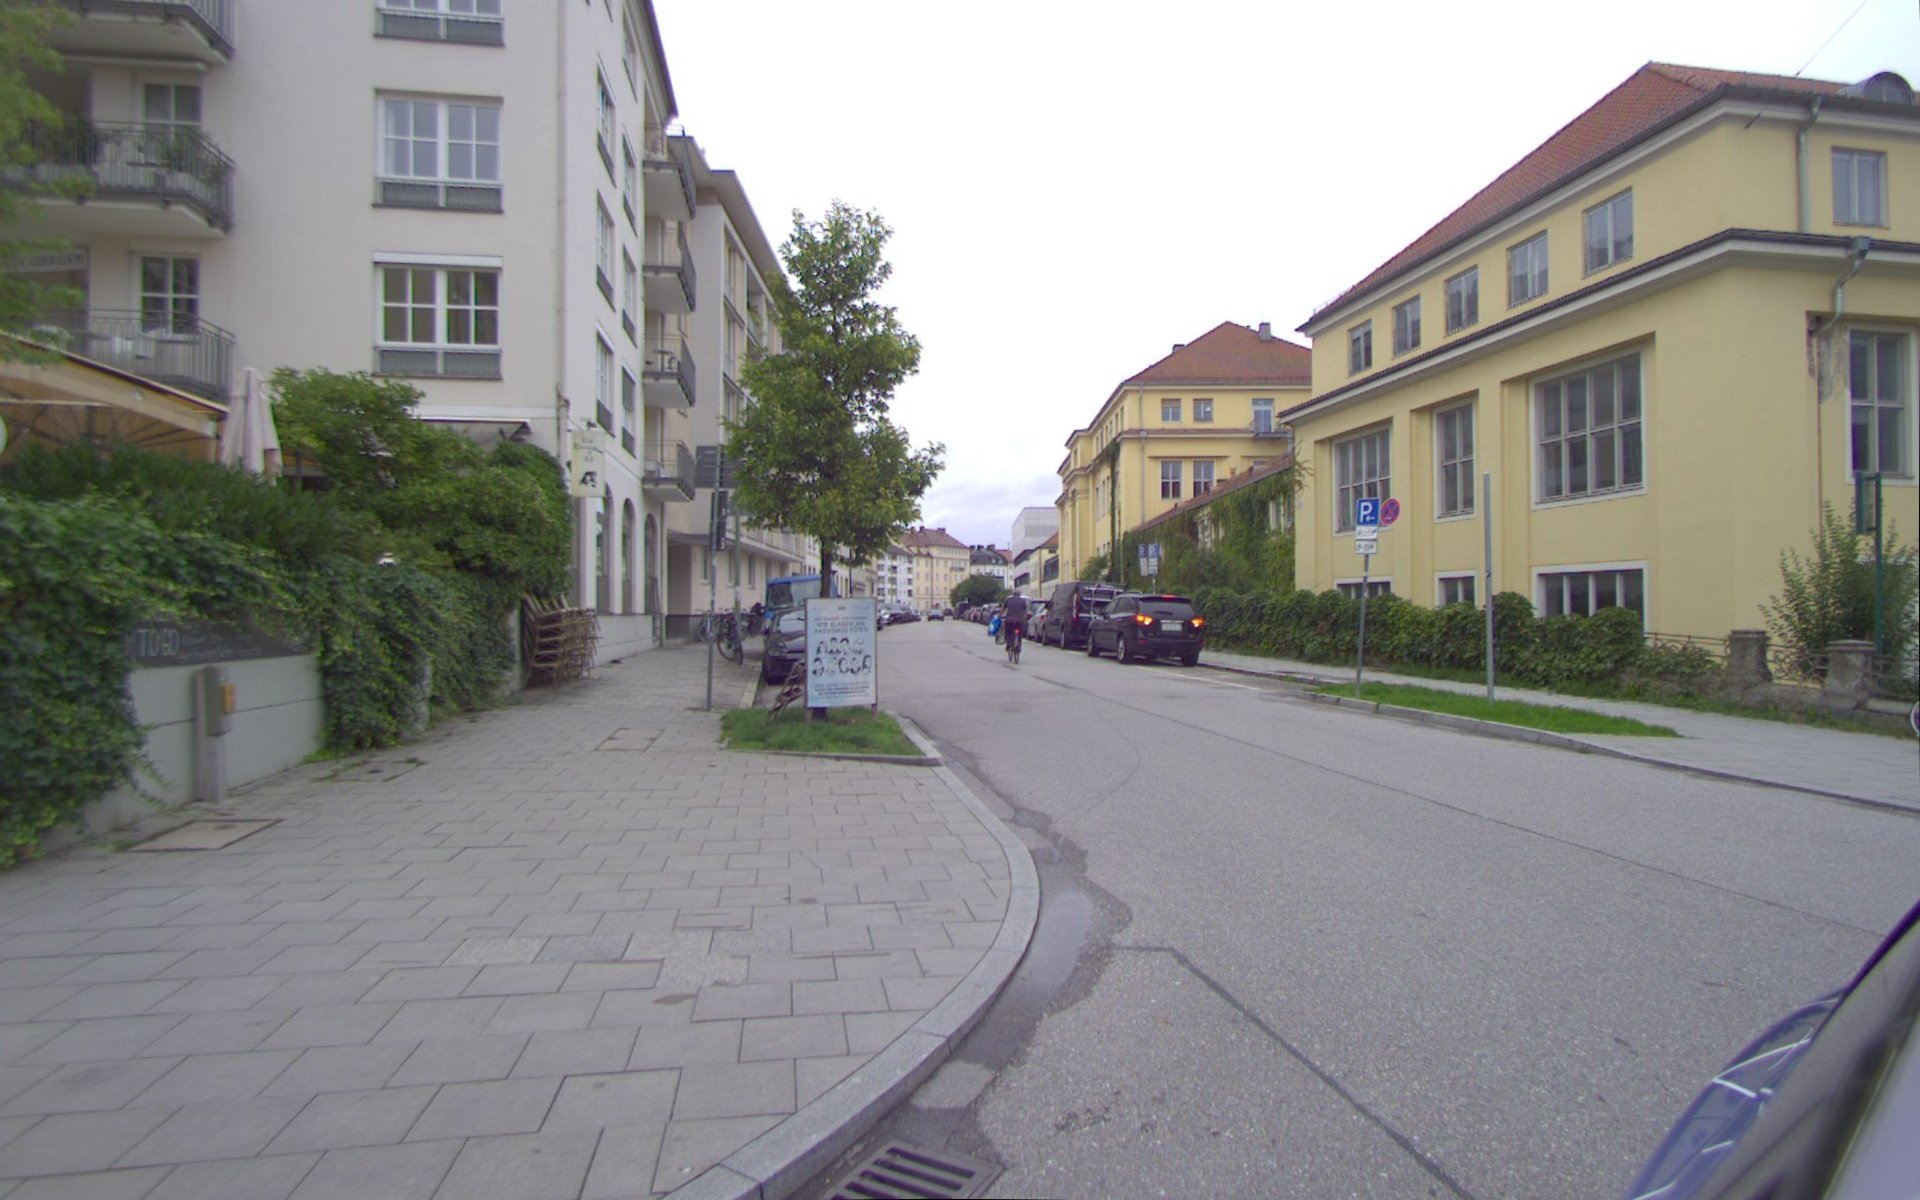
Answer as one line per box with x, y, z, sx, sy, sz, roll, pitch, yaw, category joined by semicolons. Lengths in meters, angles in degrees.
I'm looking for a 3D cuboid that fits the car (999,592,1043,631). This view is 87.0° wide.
3.151;0.582;52.921;1.939;1.859;4.681;2;0;0;car

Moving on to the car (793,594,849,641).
-5.299;0.680;38.956;1.944;1.581;4.719;-3;-1;-7;car

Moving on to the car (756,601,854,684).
-3.143;0.784;20.778;1.744;1.413;3.810;-4;1;-8;car

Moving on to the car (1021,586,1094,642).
3.505;0.489;37.143;1.938;1.859;4.684;2;0;-3;car

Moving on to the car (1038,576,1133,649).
3.855;0.375;31.953;1.937;2.098;4.687;2;0;-6;car

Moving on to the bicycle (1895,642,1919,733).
11.183;1.015;10.856;0.244;1.006;1.656;2;1;-32;bicycle

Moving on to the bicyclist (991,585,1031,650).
1.178;0.400;23.716;0.826;1.476;0.745;2;-1;-3;bicyclist

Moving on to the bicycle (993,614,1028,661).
1.165;0.866;23.743;0.611;1.030;1.719;2;0;-3;bicycle

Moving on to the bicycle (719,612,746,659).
-5.489;0.837;24.496;0.477;1.066;2.186;1;-1;-9;bicycle

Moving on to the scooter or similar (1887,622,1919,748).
10.370;0.885;10.359;1.364;1.264;0.397;2;-1;0;scooter or similar

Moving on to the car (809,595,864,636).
-5.325;0.668;44.165;1.923;1.581;4.612;-4;-1;-2;car

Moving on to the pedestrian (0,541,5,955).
-4.184;0.593;3.625;0.862;1.643;0.708;-1;-1;-10;pedestrian

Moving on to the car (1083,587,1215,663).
4.639;0.587;25.653;1.897;1.730;4.632;1;0;-8;car

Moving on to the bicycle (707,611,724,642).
-8.676;0.924;35.981;0.428;1.066;1.968;1;-1;-9;bicycle

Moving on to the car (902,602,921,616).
-5.805;1.065;120.781;1.858;1.473;4.738;-4;-1;1;car

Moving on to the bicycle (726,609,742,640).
-8.171;0.873;36.668;0.454;1.066;1.844;1;-1;-9;bicycle

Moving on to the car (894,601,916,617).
-5.675;0.921;105.203;1.858;1.473;4.738;-4;-1;1;car

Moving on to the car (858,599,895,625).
-5.413;0.769;66.006;1.858;1.473;4.738;-4;-1;1;car

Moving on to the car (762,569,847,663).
-4.137;0.341;27.200;1.944;2.196;4.721;-3;1;-8;car

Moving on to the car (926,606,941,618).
-3.139;1.446;118.962;1.760;1.358;3.836;-1;0;-1;car

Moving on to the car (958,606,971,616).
0.660;1.631;150.913;1.739;1.549;3.997;-1;0;2;car

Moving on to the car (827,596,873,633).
-5.316;0.693;49.233;1.881;1.581;4.091;-4;-1;-3;car

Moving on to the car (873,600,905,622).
-5.248;0.813;74.902;1.858;1.473;4.738;-4;-1;1;car

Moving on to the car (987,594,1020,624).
2.917;0.600;68.534;1.939;1.859;4.682;2;0;-1;car

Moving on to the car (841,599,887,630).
-5.089;0.748;54.285;1.858;1.473;4.600;-4;-1;1;car

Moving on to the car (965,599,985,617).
1.648;0.913;112.120;1.938;1.859;4.683;2;0;-2;car

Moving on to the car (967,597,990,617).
1.752;0.658;97.042;1.938;1.859;4.683;2;0;-2;car

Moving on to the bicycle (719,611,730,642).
-8.496;0.943;36.571;0.244;1.066;1.968;1;-1;-9;bicycle

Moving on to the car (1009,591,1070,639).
3.281;0.593;42.745;1.938;1.859;4.684;2;0;-3;car
